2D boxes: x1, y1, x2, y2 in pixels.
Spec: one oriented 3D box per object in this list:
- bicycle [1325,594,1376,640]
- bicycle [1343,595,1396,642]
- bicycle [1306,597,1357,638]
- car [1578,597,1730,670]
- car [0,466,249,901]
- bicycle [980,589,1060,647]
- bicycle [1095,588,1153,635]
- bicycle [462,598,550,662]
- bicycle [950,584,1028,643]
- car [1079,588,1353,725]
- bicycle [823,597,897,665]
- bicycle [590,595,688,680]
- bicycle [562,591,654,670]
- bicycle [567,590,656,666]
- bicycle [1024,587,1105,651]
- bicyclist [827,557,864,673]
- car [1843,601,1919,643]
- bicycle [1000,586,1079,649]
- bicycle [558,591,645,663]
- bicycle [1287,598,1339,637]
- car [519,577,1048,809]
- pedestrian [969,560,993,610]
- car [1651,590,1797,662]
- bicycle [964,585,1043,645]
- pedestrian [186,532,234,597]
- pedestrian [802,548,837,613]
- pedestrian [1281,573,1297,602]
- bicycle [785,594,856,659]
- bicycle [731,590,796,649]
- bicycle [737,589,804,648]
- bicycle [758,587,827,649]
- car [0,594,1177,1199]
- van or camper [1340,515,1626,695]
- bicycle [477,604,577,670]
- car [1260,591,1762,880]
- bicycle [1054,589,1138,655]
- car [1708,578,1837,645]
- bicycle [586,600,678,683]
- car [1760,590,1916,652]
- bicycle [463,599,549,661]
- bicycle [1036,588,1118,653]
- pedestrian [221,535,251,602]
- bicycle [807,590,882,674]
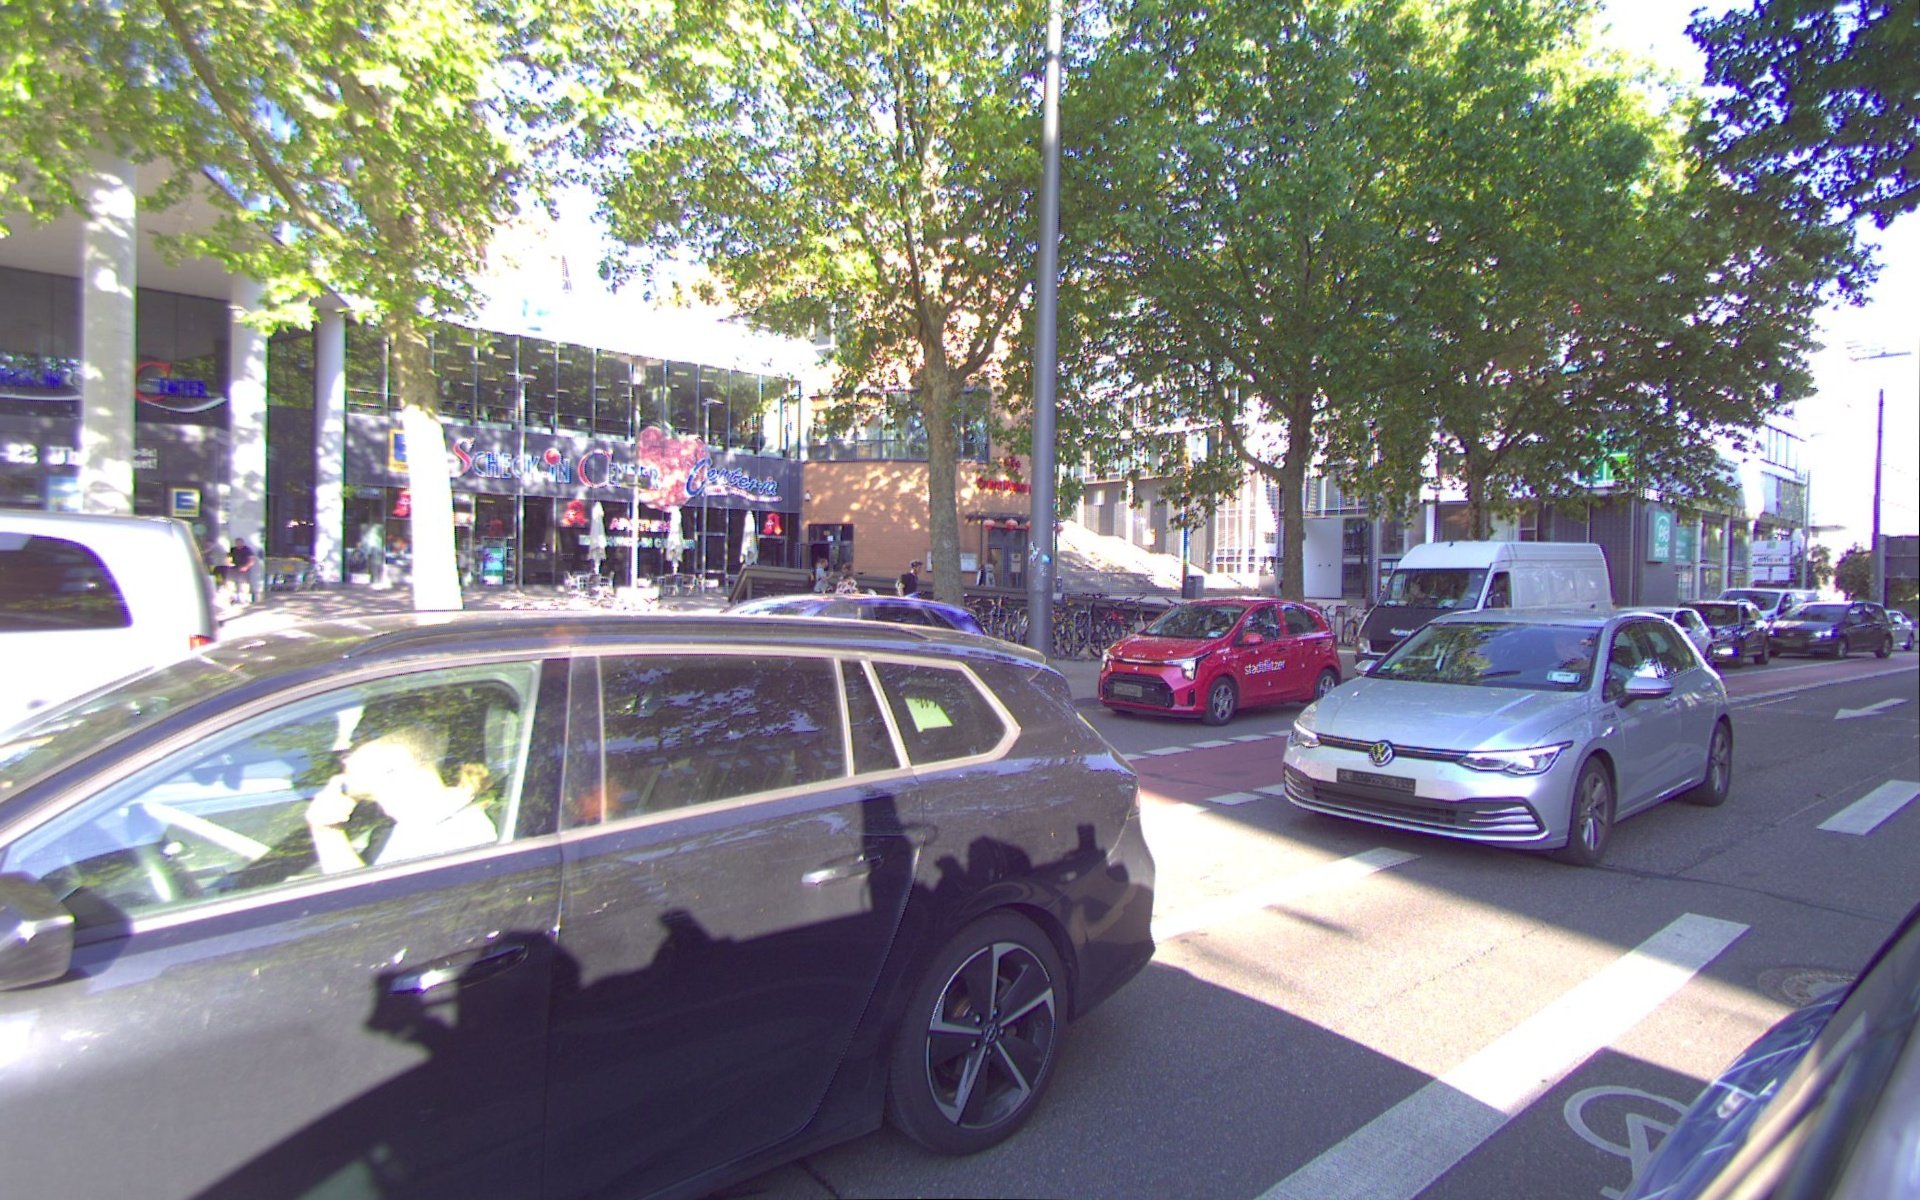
[{"bbox_3d":[10.666,0.447,27.631,1.818,1.209,0.495,0,2,-41],"label":"bicycle"},{"bbox_3d":[11.034,0.477,27.232,1.818,1.209,0.521,0,2,-41],"label":"bicycle"},{"bbox_3d":[10.311,0.469,28.043,1.766,1.108,0.522,0,2,-41],"label":"bicycle"},{"bbox_3d":[15.313,0.681,22.271,3.927,1.446,1.683,0,1,-38],"label":"car"},{"bbox_3d":[-6.227,0.359,4.368,5.008,2.004,1.940,0,2,-41],"label":"car"},{"bbox_3d":[1.257,0.351,20.968,1.818,1.139,0.484,0,2,-41],"label":"bicycle"},{"bbox_3d":[4.391,0.304,27.066,1.759,1.209,0.517,0,2,-41],"label":"bicycle"},{"bbox_3d":[-6.957,0.454,15.542,1.198,0.930,0.442,1,1,-22],"label":"bicycle"},{"bbox_3d":[0.638,0.271,21.701,1.818,1.209,0.434,0,1,-41],"label":"bicycle"},{"bbox_3d":[3.318,0.605,12.821,3.588,1.476,1.605,0,1,-41],"label":"car"},{"bbox_3d":[-1.684,0.504,17.063,1.202,1.110,0.420,0,1,-40],"label":"bicycle"},{"bbox_3d":[-4.400,0.495,13.915,1.202,1.110,0.413,0,1,-40],"label":"bicycle"},{"bbox_3d":[-5.156,0.424,14.840,1.202,1.110,0.396,0,1,-40],"label":"bicycle"},{"bbox_3d":[-5.358,0.406,15.588,0.372,1.110,1.269,2,1,41],"label":"bicycle"},{"bbox_3d":[2.112,0.362,20.258,1.818,1.209,0.484,0,2,-41],"label":"bicycle"},{"bbox_3d":[-1.783,0.227,15.798,0.392,1.782,0.390,0,1,-41],"label":"bicyclist"},{"bbox_3d":[33.522,0.748,36.518,3.927,1.394,1.802,0,2,-38],"label":"car"},{"bbox_3d":[1.630,0.339,20.520,1.818,1.209,0.447,0,1,-41],"label":"bicycle"},{"bbox_3d":[-5.780,0.413,16.359,0.414,1.110,1.269,2,1,41],"label":"bicycle"},{"bbox_3d":[9.928,0.473,28.453,1.818,1.046,0.515,0,2,-41],"label":"bicycle"},{"bbox_3d":[-1.332,0.593,8.695,4.177,1.503,1.742,0,2,-41],"label":"car"},{"bbox_3d":[0.868,-0.635,42.457,0.575,2.062,0.876,1,1,-35],"label":"pedestrian"},{"bbox_3d":[19.134,0.590,25.295,4.148,1.640,1.819,0,1,-36],"label":"car"},{"bbox_3d":[0.936,0.296,21.348,1.818,1.209,0.458,0,1,-41],"label":"bicycle"},{"bbox_3d":[-20.454,-0.967,27.604,0.790,1.728,0.719,1,1,-5],"label":"pedestrian"},{"bbox_3d":[-3.959,-0.559,28.537,0.868,1.805,0.604,1,1,-18],"label":"pedestrian"},{"bbox_3d":[18.172,-0.698,55.896,0.707,1.578,0.638,1,1,14],"label":"pedestrian"},{"bbox_3d":[-2.469,0.454,17.972,1.202,1.110,0.400,0,1,-40],"label":"bicycle"},{"bbox_3d":[-3.886,0.372,20.048,1.202,1.110,0.429,0,1,-40],"label":"bicycle"},{"bbox_3d":[-3.641,0.343,19.505,1.202,1.110,0.444,0,1,-40],"label":"bicycle"},{"bbox_3d":[-3.107,0.321,18.838,1.202,1.110,0.427,0,1,-40],"label":"bicycle"},{"bbox_3d":[-1.469,0.703,2.427,4.196,1.432,1.742,0,0,-41],"label":"car"},{"bbox_3d":[9.244,0.061,17.531,6.456,2.611,1.998,0,0,-39],"label":"van or camper"},{"bbox_3d":[-6.237,0.519,14.596,1.231,0.898,0.462,0,1,-40],"label":"bicycle"},{"bbox_3d":[3.973,0.682,7.038,3.928,1.458,1.733,0,0,-39],"label":"car"},{"bbox_3d":[2.622,0.399,19.364,1.818,1.209,0.481,0,2,-41],"label":"bicycle"},{"bbox_3d":[26.367,0.343,32.786,4.863,2.020,1.968,0,1,-35],"label":"car"},{"bbox_3d":[-4.579,0.565,14.180,1.202,1.110,0.269,0,1,-40],"label":"bicycle"},{"bbox_3d":[25.286,0.580,29.139,4.242,1.640,1.970,0,1,-28],"label":"car"},{"bbox_3d":[-7.120,0.463,15.920,1.198,0.938,0.465,1,1,-22],"label":"bicycle"},{"bbox_3d":[2.300,0.388,19.750,1.818,1.209,0.448,0,1,-41],"label":"bicycle"},{"bbox_3d":[-18.744,-0.806,26.212,0.506,1.707,0.604,1,1,-23],"label":"pedestrian"},{"bbox_3d":[-1.793,0.481,15.795,1.126,1.271,0.379,0,1,-41],"label":"bicycle"}]
